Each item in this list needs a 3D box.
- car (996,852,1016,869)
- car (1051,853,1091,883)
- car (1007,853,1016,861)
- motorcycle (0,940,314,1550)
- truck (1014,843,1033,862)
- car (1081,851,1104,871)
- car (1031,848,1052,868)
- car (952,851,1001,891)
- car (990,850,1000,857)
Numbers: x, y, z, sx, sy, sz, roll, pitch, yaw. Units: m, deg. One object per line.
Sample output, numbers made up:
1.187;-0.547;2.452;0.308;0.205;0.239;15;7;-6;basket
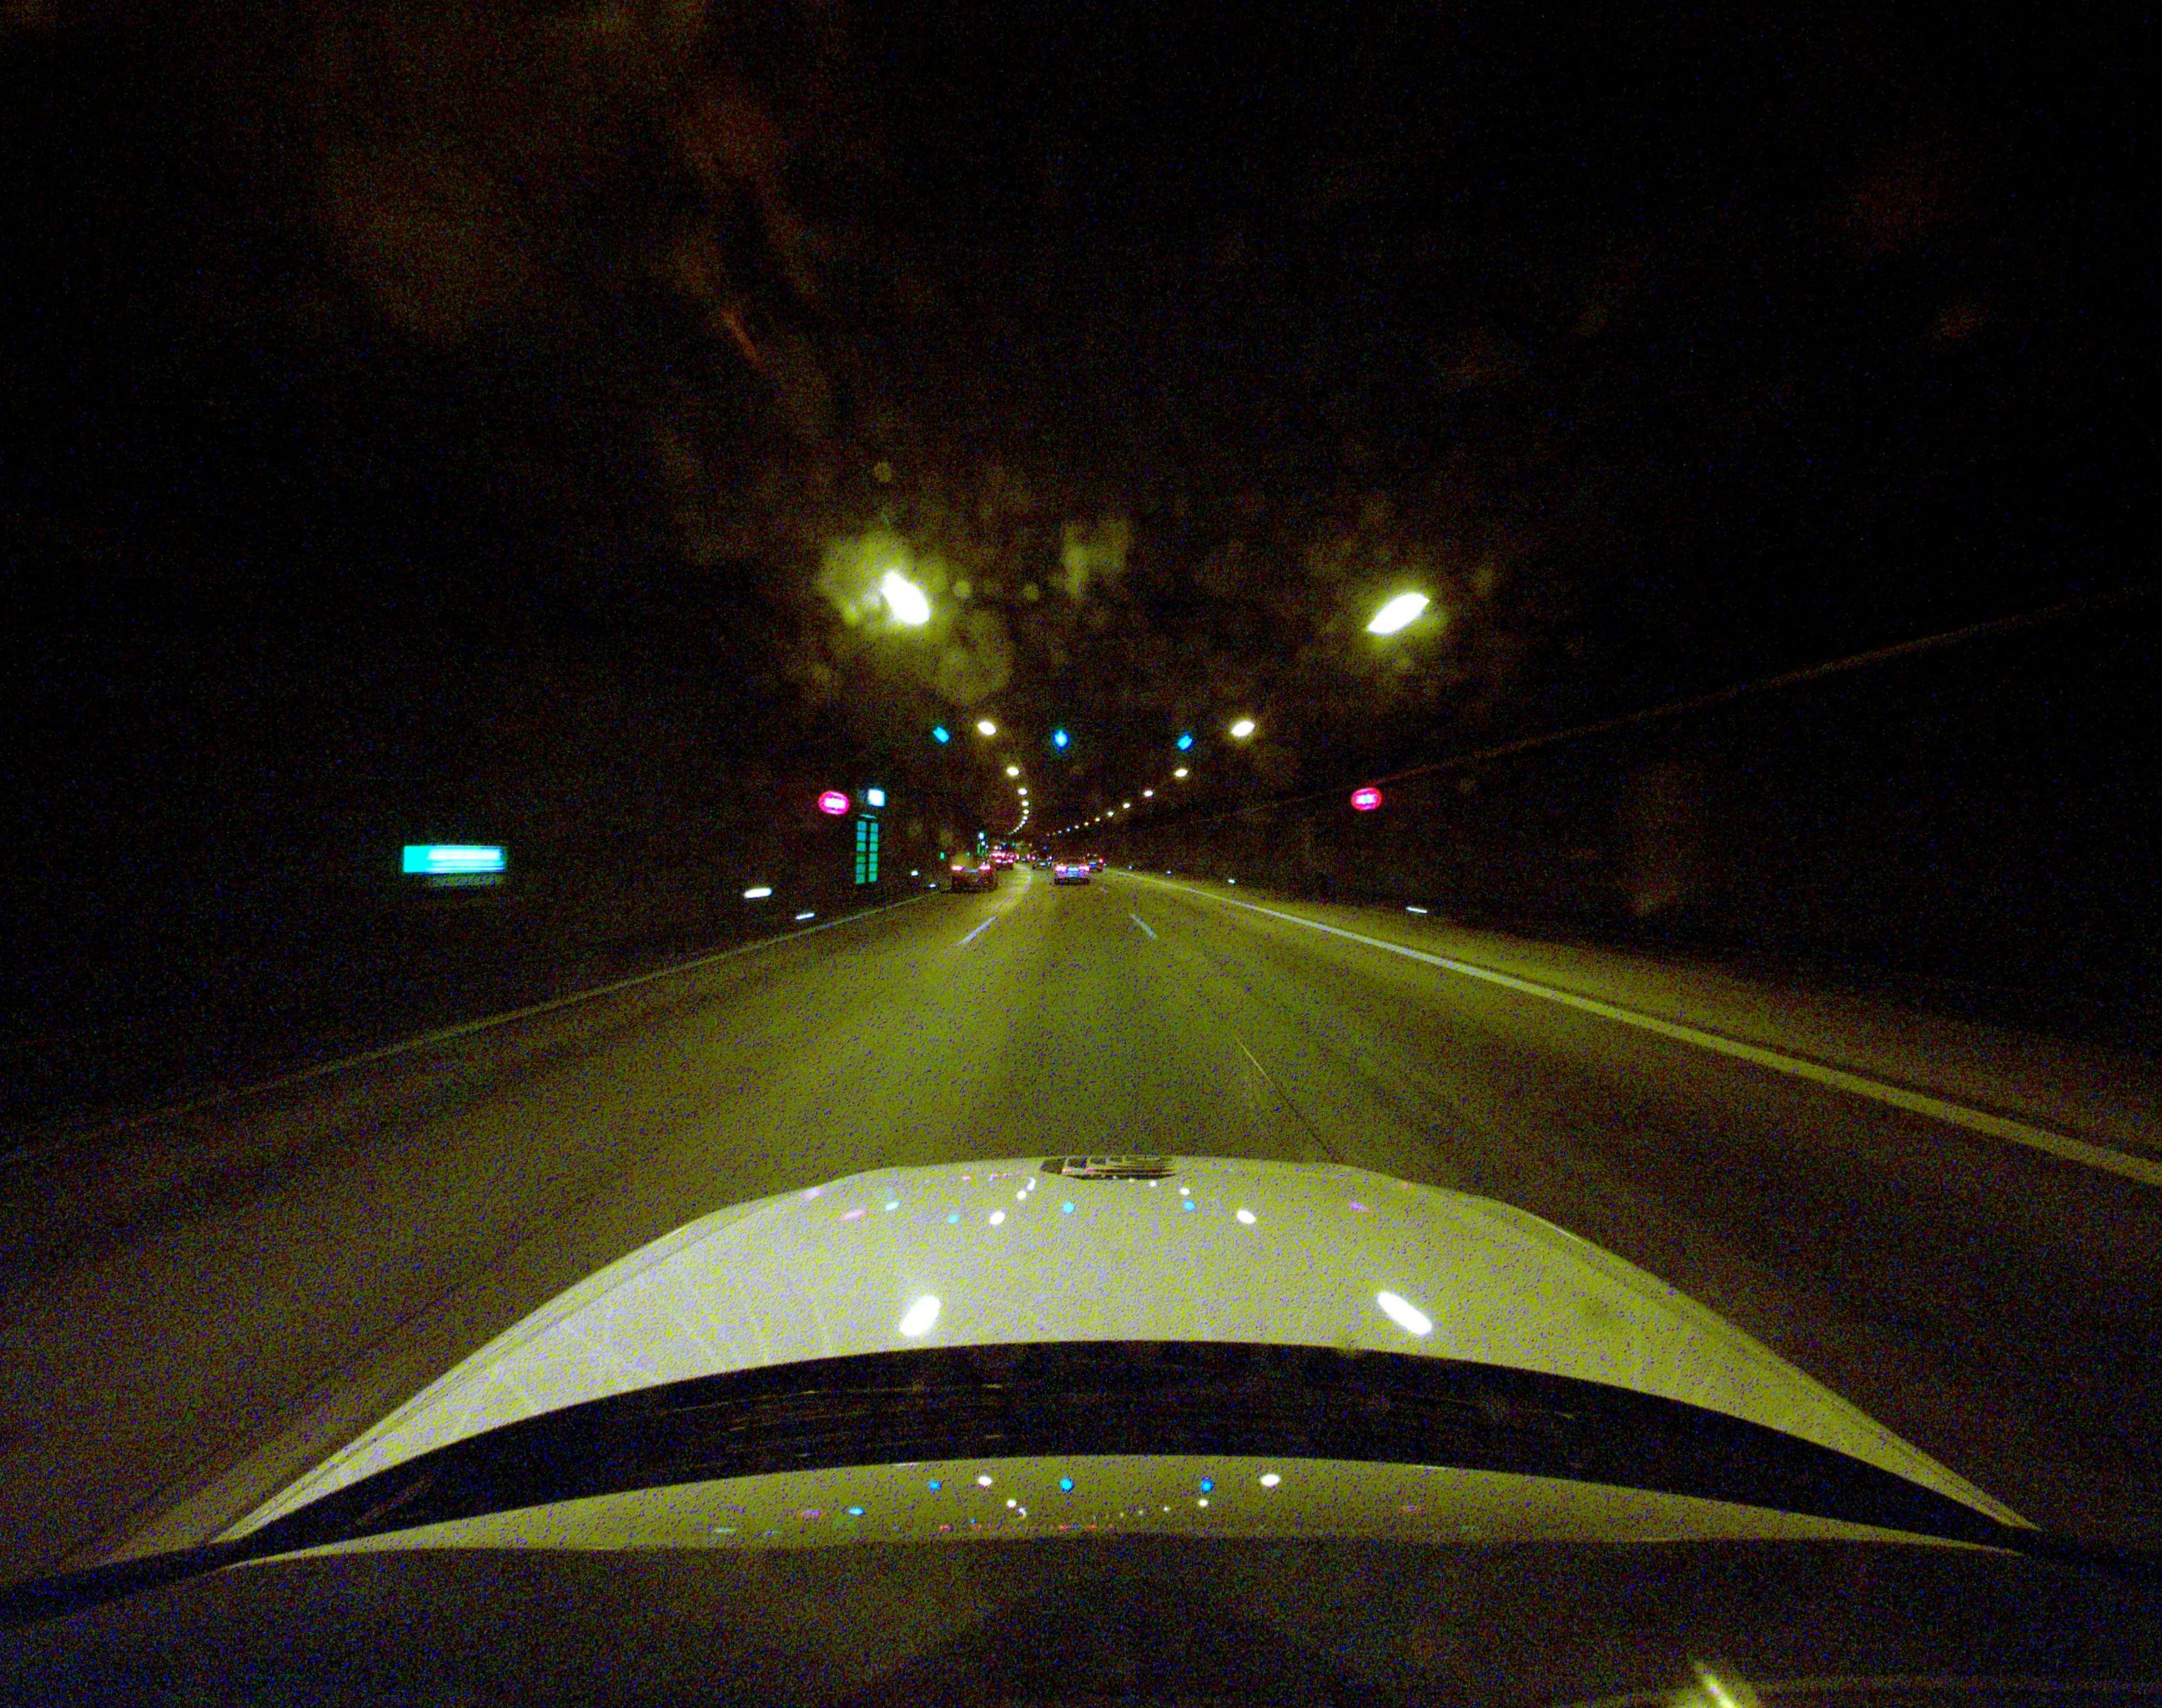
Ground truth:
-7.634;0.650;82.915;1.796;1.684;3.996;0;0;-3;car
-0.517;0.721;42.691;1.988;1.483;3.998;0;0;-1;car
-16.082;0.786;188.449;1.990;1.754;3.994;0;-1;-4;car
-2.770;0.875;1.162;0.842;1.246;2.605;-1;-1;1;motorcycle
-9.689;-0.338;136.595;3.077;3.113;10.013;0;1;-5;truck
0.946;0.556;68.656;1.834;1.602;3.998;0;0;-1;car
-4.015;0.421;82.654;1.989;1.972;3.996;-1;0;-3;car
-4.484;0.707;35.303;1.781;1.598;3.797;-1;0;-3;car
-18.515;-0.160;175.214;1.991;1.530;3.992;0;-1;-5;car
